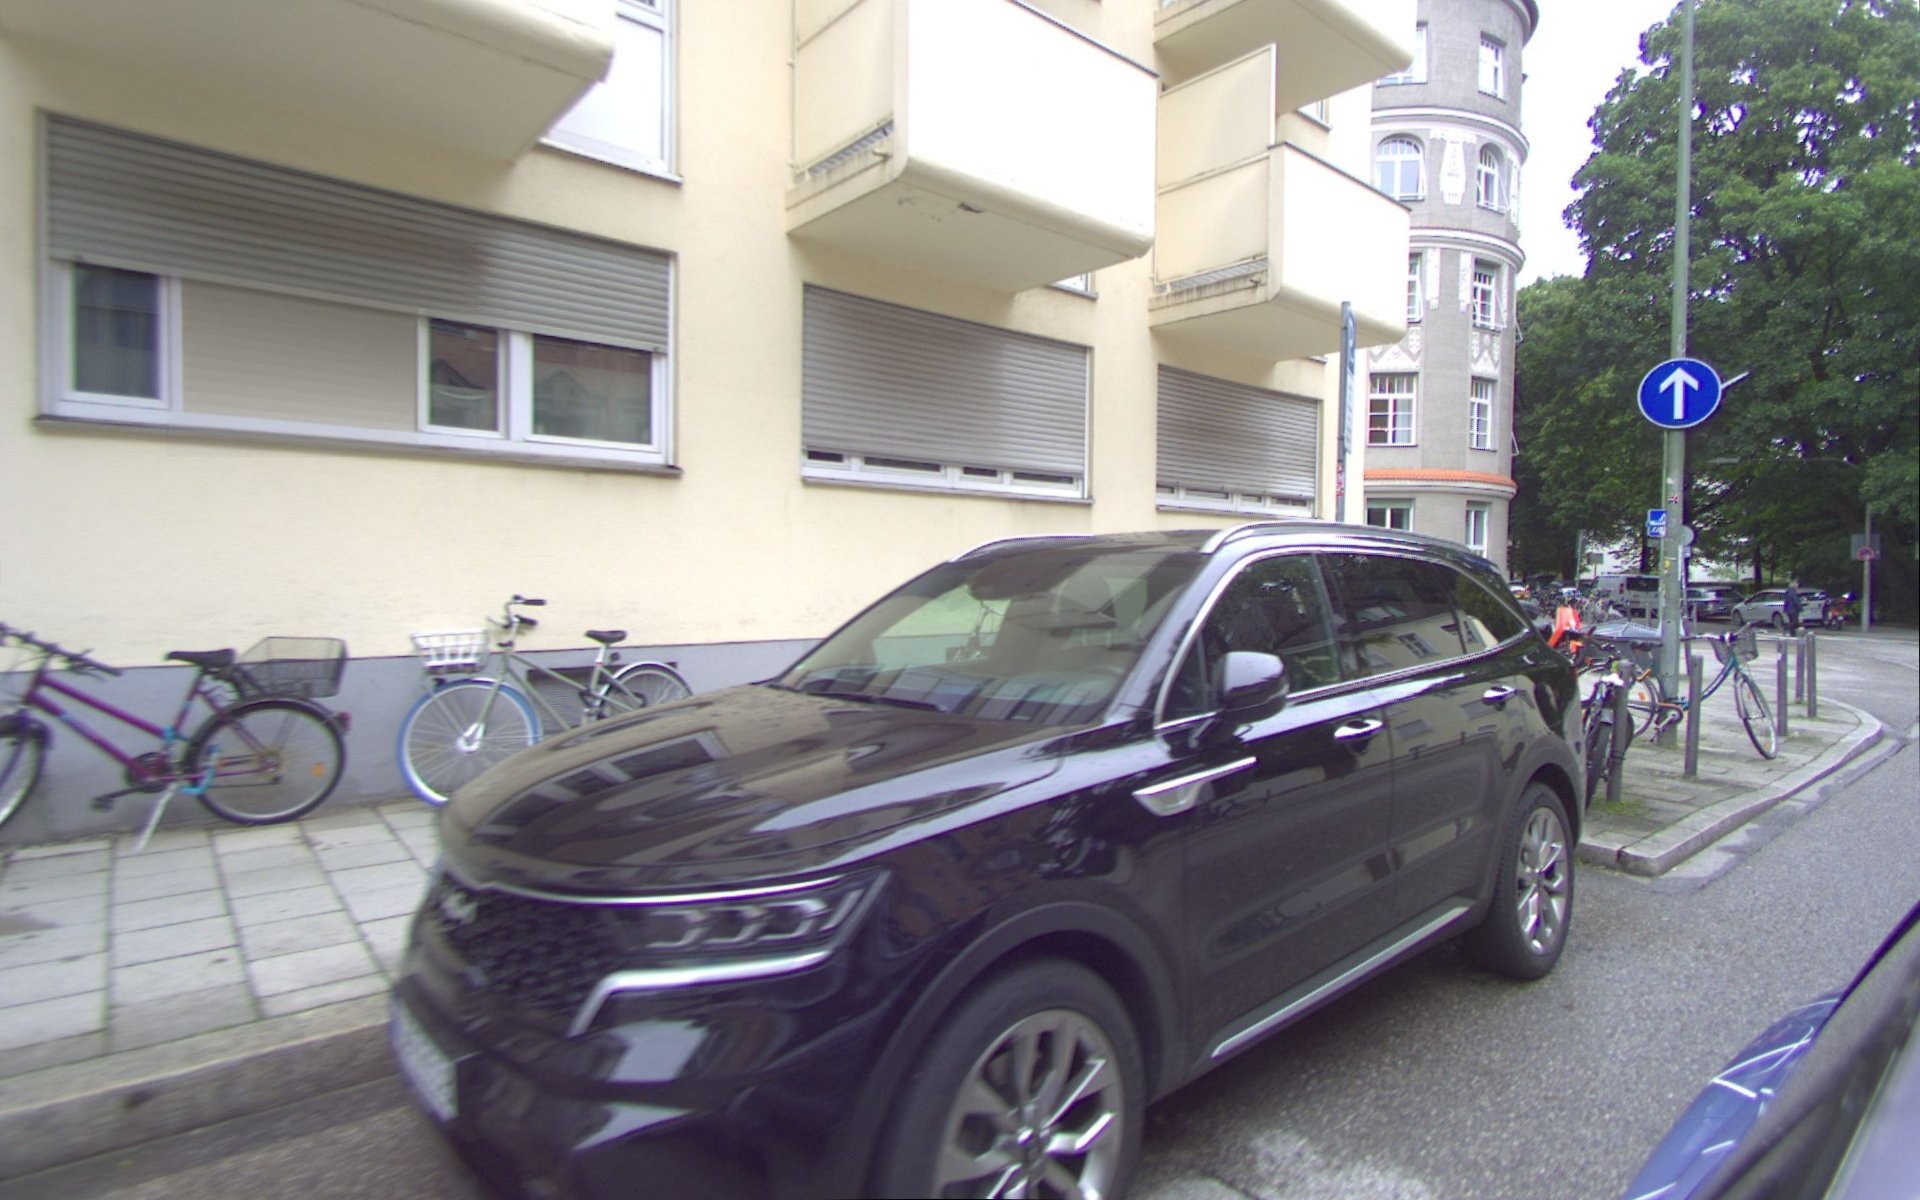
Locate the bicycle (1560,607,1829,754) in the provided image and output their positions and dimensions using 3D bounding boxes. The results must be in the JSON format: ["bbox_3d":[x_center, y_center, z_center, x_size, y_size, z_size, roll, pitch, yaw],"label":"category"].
[{"bbox_3d":[6.227,0.639,8.723,1.746,1.079,0.768,2,2,28],"label":"bicycle"}]

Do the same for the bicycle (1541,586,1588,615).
[{"bbox_3d":[25.342,0.007,42.449,1.671,1.161,0.506,2,2,31],"label":"bicycle"}]

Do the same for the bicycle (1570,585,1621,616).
[{"bbox_3d":[25.197,-0.007,40.147,1.671,1.161,0.506,2,2,31],"label":"bicycle"}]

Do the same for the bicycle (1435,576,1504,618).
[{"bbox_3d":[15.913,-0.094,31.638,1.886,1.271,0.740,0,2,-15],"label":"bicycle"}]

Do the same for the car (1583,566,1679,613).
[{"bbox_3d":[31.490,-0.537,47.664,2.015,2.067,4.941,1,2,12],"label":"car"}]

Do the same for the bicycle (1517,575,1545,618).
[{"bbox_3d":[19.669,-0.142,34.906,0.731,1.431,1.908,1,2,27],"label":"bicycle"}]

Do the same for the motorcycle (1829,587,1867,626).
[{"bbox_3d":[29.542,0.214,33.699,0.855,1.199,1.977,-2,0,40],"label":"motorcycle"}]

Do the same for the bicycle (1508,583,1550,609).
[{"bbox_3d":[26.297,-0.206,46.783,1.671,1.161,0.506,2,2,31],"label":"bicycle"}]

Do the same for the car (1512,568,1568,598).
[{"bbox_3d":[37.462,-1.136,65.494,1.750,1.841,4.502,1,2,11],"label":"car"}]

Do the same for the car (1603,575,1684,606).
[{"bbox_3d":[34.015,-0.508,50.492,1.598,1.466,4.425,0,2,9],"label":"car"}]

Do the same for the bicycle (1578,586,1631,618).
[{"bbox_3d":[24.665,0.062,38.771,1.671,1.161,0.461,2,2,32],"label":"bicycle"}]

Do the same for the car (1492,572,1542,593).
[{"bbox_3d":[39.012,-1.258,71.009,1.750,1.450,4.502,1,2,12],"label":"car"}]

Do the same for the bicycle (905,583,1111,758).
[{"bbox_3d":[0.422,0.496,8.138,0.687,1.221,1.735,2,3,44],"label":"bicycle"}]

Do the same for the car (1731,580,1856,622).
[{"bbox_3d":[31.465,-0.008,38.363,1.598,1.466,4.425,0,2,9],"label":"car"}]

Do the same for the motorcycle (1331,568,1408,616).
[{"bbox_3d":[12.740,-0.263,31.546,2.115,1.458,0.735,1,2,15],"label":"motorcycle"}]

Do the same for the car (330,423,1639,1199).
[{"bbox_3d":[0.575,0.516,3.519,4.471,1.659,1.853,-2,3,-41],"label":"car"}]

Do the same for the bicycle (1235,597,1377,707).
[{"bbox_3d":[3.779,0.521,11.000,1.730,1.067,0.581,-1,3,-37],"label":"bicycle"}]

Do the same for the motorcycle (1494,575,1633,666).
[{"bbox_3d":[9.765,0.291,16.481,0.800,1.372,2.088,0,2,-7],"label":"motorcycle"}]

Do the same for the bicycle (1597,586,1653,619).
[{"bbox_3d":[24.808,0.100,37.787,1.695,1.161,0.506,2,2,31],"label":"bicycle"}]

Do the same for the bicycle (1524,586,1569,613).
[{"bbox_3d":[26.009,-0.026,44.886,1.671,1.161,0.506,2,2,31],"label":"bicycle"}]

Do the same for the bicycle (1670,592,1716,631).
[{"bbox_3d":[20.545,0.311,28.356,1.971,1.022,0.512,-1,3,-38],"label":"bicycle"}]

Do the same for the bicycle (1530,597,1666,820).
[{"bbox_3d":[4.179,0.600,6.564,0.578,1.168,1.937,2,3,37],"label":"bicycle"}]

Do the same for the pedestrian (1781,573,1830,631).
[{"bbox_3d":[25.040,0.045,29.984,0.713,1.662,0.812,1,2,5],"label":"pedestrian"}]

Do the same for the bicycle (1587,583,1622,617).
[{"bbox_3d":[23.015,0.006,36.134,1.653,1.161,0.512,-1,3,-38],"label":"bicycle"}]

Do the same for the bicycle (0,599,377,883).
[{"bbox_3d":[-3.657,0.562,4.518,0.580,1.067,1.734,2,3,45],"label":"bicycle"}]

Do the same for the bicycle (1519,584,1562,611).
[{"bbox_3d":[26.161,-0.109,45.618,1.671,1.161,0.506,2,2,31],"label":"bicycle"}]

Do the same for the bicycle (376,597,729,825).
[{"bbox_3d":[-2.266,0.543,5.825,0.580,1.067,1.808,2,3,44],"label":"bicycle"}]

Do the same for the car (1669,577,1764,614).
[{"bbox_3d":[32.713,-0.235,43.894,1.600,1.466,4.419,1,2,13],"label":"car"}]

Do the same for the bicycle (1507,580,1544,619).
[{"bbox_3d":[18.500,-0.033,33.081,0.563,1.170,1.897,6,5,42],"label":"bicycle"}]

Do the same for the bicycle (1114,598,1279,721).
[{"bbox_3d":[2.331,0.536,9.887,1.730,1.067,0.581,-1,3,-37],"label":"bicycle"}]

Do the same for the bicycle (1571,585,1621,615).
[{"bbox_3d":[25.543,-0.015,40.663,1.671,1.161,0.506,2,2,31],"label":"bicycle"}]
